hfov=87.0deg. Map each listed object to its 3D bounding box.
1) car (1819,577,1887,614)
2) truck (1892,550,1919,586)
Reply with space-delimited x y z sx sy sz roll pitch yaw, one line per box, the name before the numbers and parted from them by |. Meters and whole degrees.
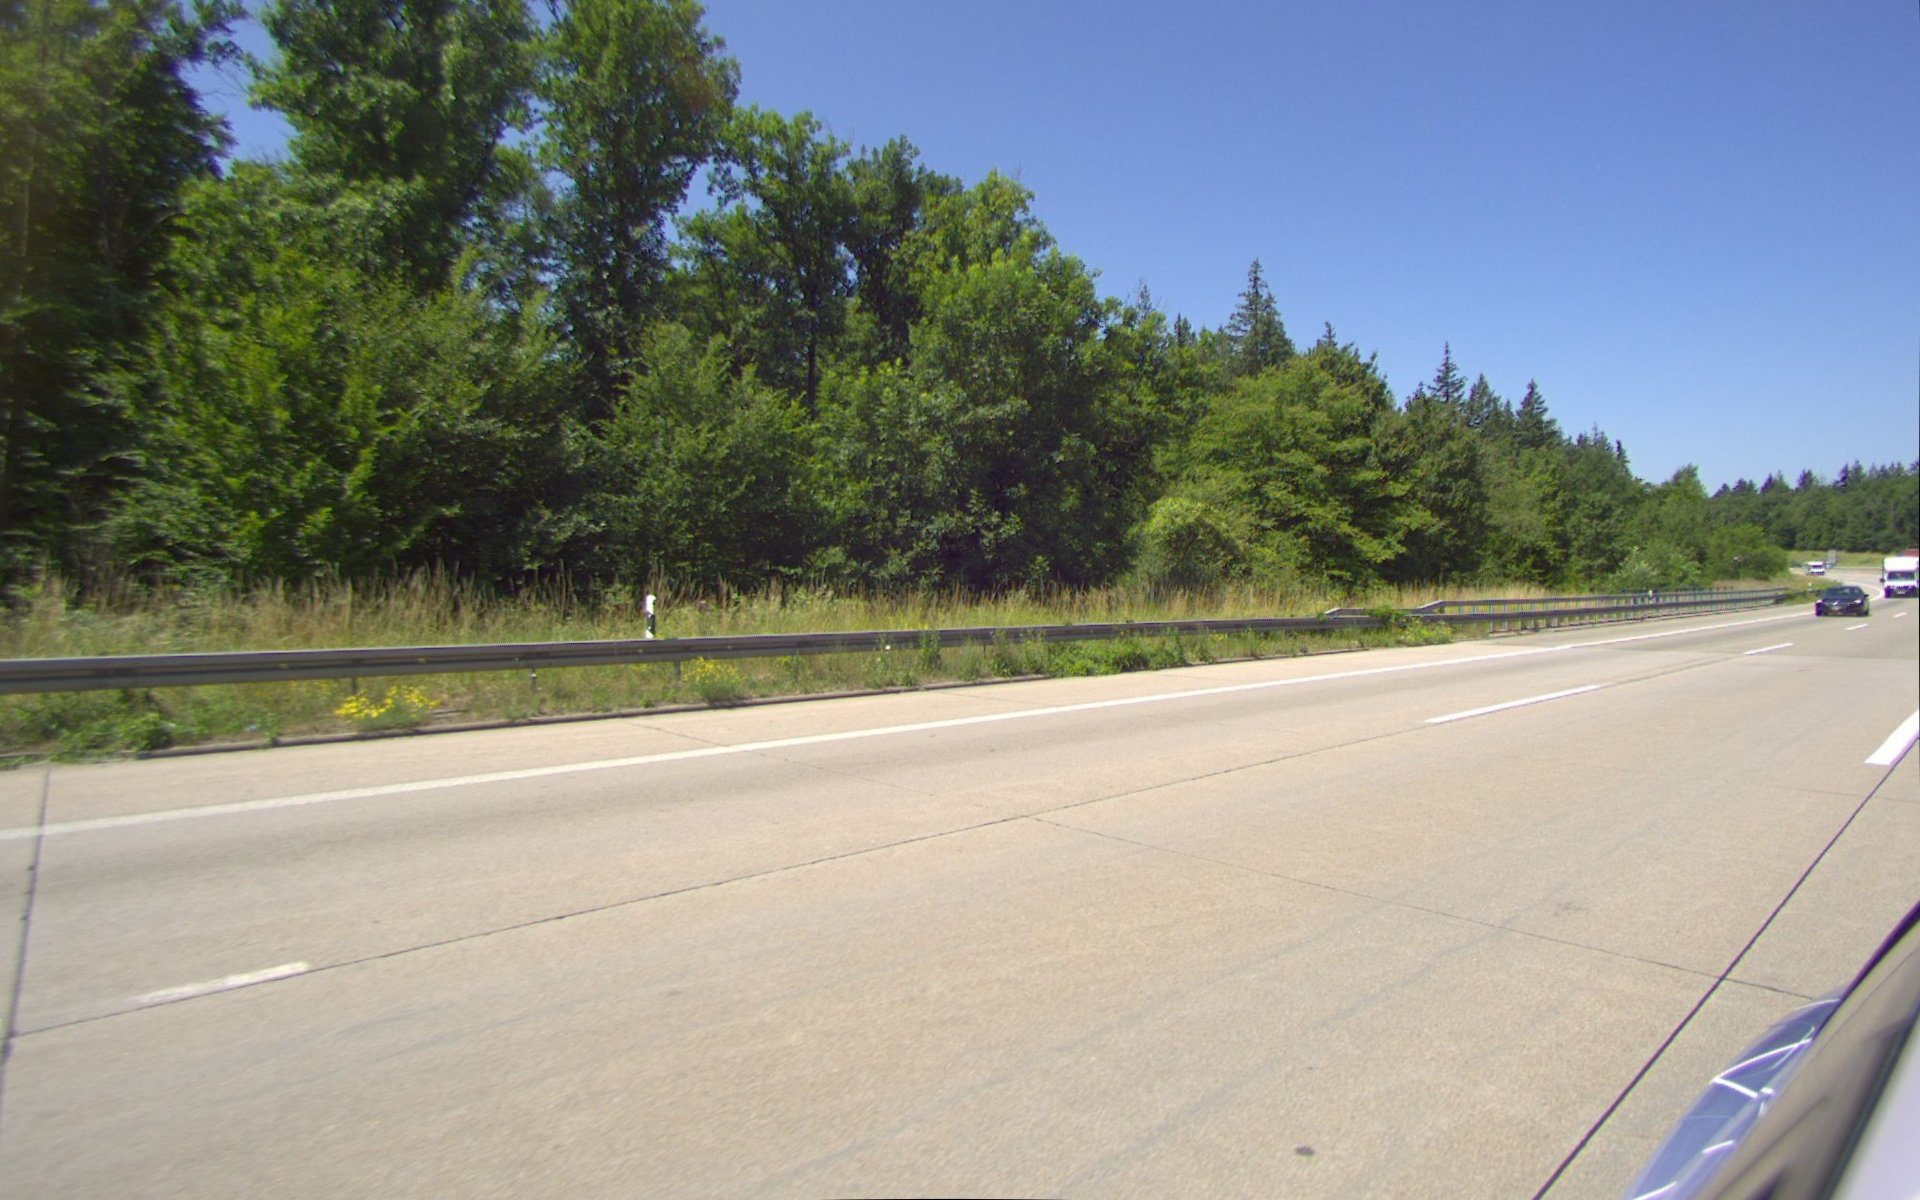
car | 43.422 -0.227 49.177 4.323 1.725 1.929 -1 0 -41
truck | 78.151 -2.573 82.595 5.813 2.831 2.481 -1 0 -41
